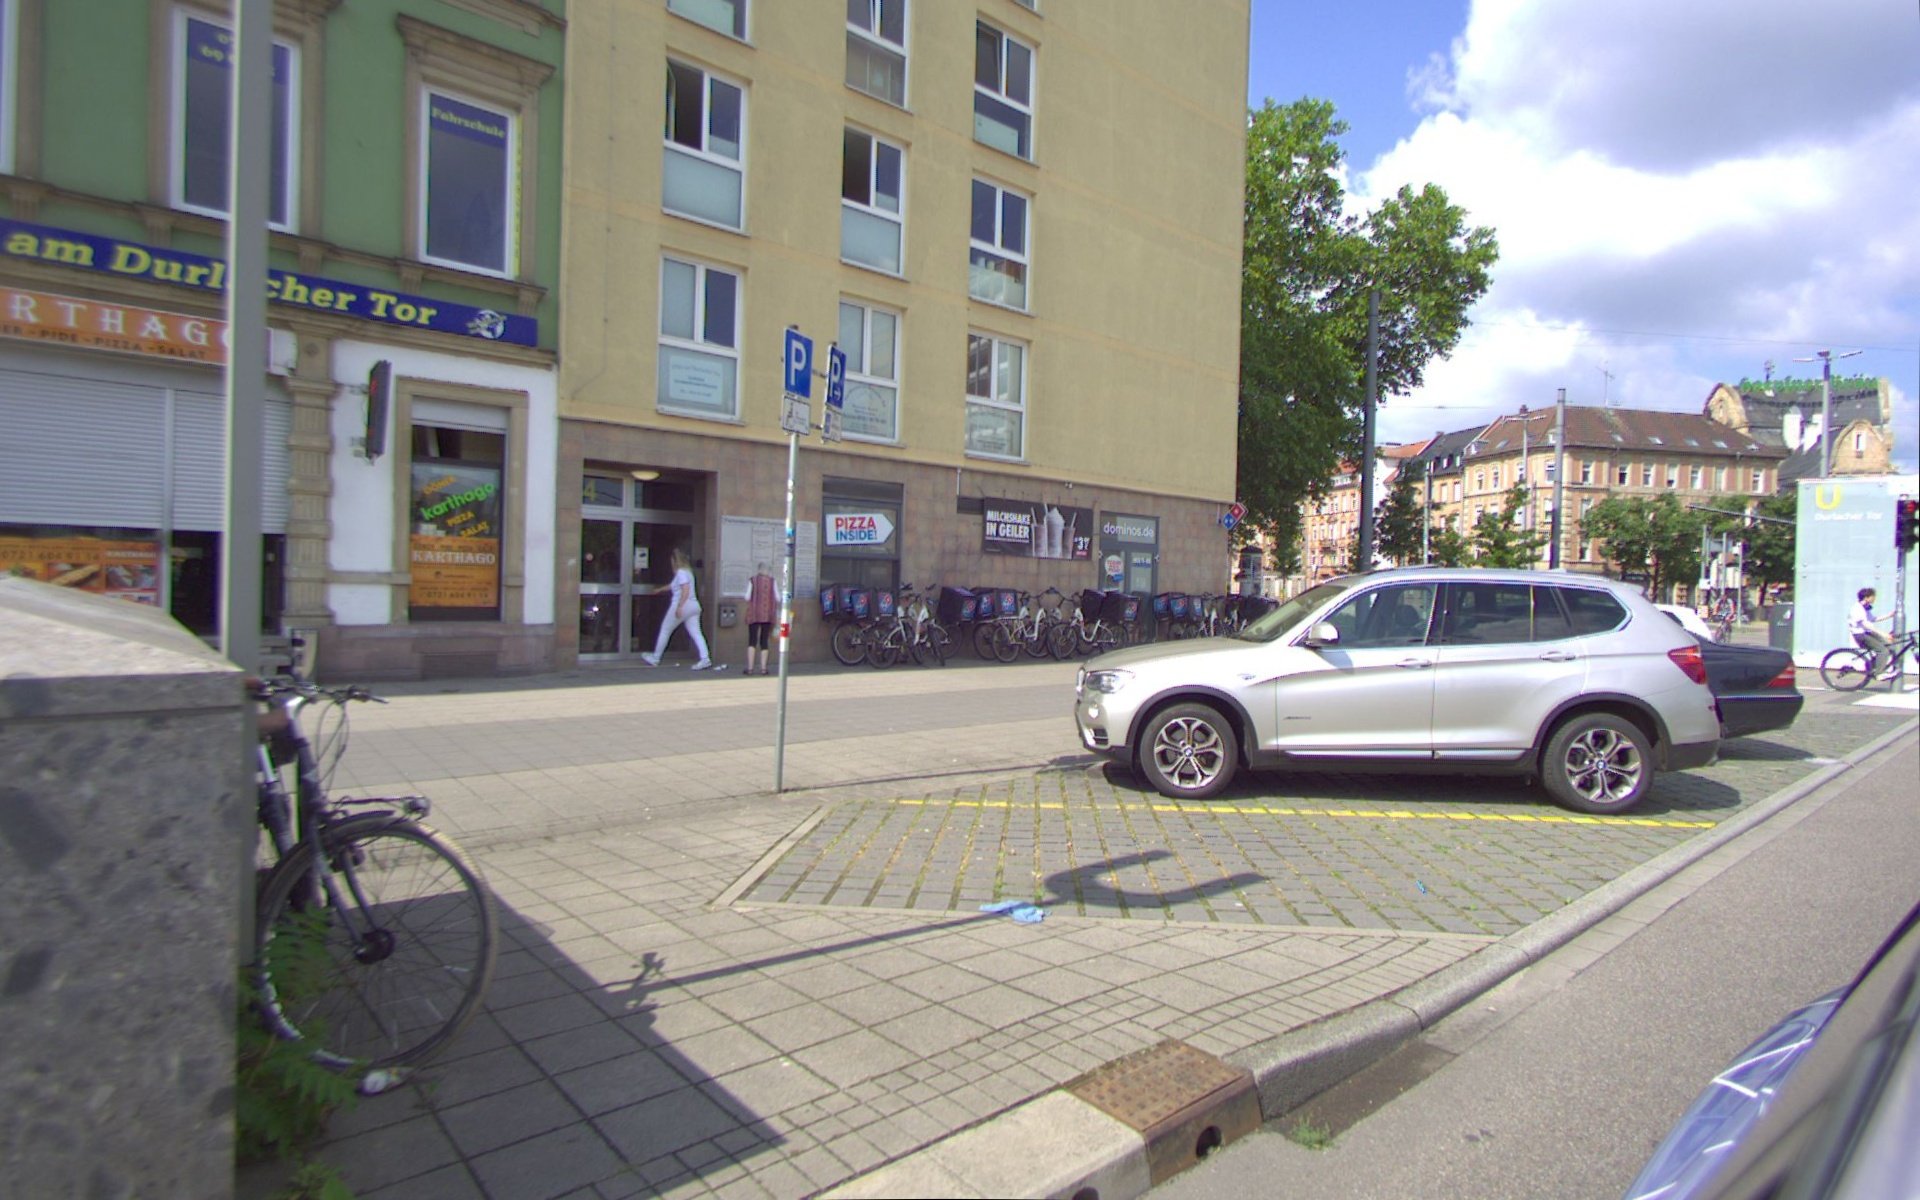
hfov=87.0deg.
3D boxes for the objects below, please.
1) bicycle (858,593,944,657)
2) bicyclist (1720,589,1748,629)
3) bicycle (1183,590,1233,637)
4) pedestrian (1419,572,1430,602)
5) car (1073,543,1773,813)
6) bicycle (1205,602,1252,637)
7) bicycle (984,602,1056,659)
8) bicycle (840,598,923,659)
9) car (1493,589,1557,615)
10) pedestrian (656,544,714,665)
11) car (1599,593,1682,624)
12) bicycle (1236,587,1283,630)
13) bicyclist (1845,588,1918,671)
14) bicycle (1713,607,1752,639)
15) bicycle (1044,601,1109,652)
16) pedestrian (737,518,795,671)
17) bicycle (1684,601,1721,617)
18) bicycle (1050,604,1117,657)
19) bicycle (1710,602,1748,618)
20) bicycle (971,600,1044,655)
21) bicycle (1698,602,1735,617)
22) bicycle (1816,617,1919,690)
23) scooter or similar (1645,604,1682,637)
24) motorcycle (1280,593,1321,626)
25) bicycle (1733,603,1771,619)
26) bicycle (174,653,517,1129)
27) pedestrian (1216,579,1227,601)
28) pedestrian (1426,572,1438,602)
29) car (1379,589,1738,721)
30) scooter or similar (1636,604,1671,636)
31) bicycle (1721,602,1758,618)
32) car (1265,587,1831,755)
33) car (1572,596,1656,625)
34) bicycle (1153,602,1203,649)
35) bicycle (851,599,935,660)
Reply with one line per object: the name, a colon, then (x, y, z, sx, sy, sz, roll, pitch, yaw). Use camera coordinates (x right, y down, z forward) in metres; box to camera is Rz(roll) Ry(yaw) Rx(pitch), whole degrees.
bicycle: (-0.893, 0.379, 15.558, 1.439, 0.934, 0.293, 2, 0, -43)
bicyclist: (28.463, 0.325, 37.216, 0.730, 1.455, 0.655, 1, 1, -40)
bicycle: (5.070, 0.279, 20.635, 0.292, 0.934, 1.588, 2, 0, 40)
pedestrian: (48.809, -1.344, 106.288, 0.655, 3.160, 0.887, 3, -1, 0)
car: (3.189, 0.475, 7.966, 4.518, 1.668, 2.058, 2, 1, 8)
bicycle: (5.940, 0.428, 22.357, 1.428, 0.747, 0.292, 1, 1, -44)
bicycle: (1.034, 0.528, 17.293, 1.439, 0.934, 0.293, 3, 0, -43)
bicycle: (-1.250, 0.458, 16.278, 1.439, 0.934, 0.293, 2, 0, -43)
car: (35.052, 0.120, 62.864, 1.657, 1.488, 3.659, 3, 0, -3)
pedestrian: (-3.851, 0.060, 14.159, 0.452, 1.638, 0.603, 3, 2, -40)
car: (38.789, 0.480, 57.790, 1.961, 1.594, 3.739, 3, 0, -3)
bicycle: (6.491, 0.167, 21.913, 1.440, 0.894, 0.293, -1, 2, -43)
bicyclist: (15.432, 0.483, 16.959, 0.387, 1.353, 0.785, 3, -1, -11)
bicycle: (28.352, 0.833, 37.135, 2.291, 1.134, 0.663, 0, 1, -41)
bicycle: (2.215, 0.491, 19.110, 1.438, 0.934, 0.293, 1, 1, -40)
pedestrian: (-2.656, -0.074, 13.854, 0.452, 2.039, 0.603, 3, -1, -40)
bicycle: (60.842, 0.756, 82.955, 0.746, 1.180, 2.689, 1, 1, -7)
bicycle: (2.258, 0.548, 18.469, 1.438, 0.934, 0.293, 1, 1, -40)
bicycle: (63.075, 0.817, 83.035, 0.746, 1.180, 2.689, 1, 1, -6)
bicycle: (0.848, 0.493, 17.883, 1.438, 0.934, 0.293, 3, -1, -40)
bicycle: (61.999, 0.746, 83.003, 0.746, 1.180, 2.688, 3, 0, -7)
bicycle: (15.504, 0.881, 16.752, 0.533, 1.120, 2.104, 3, 0, -13)
scooter or similar: (27.354, 0.782, 39.358, 1.049, 1.212, 0.380, 3, -1, 13)
motorcycle: (11.202, 0.293, 33.380, 0.959, 1.043, 2.287, 0, 0, 10)
bicycle: (65.279, 0.883, 83.437, 0.746, 1.180, 2.688, 1, 1, -6)
bicycle: (-2.014, 0.728, 3.215, 0.602, 1.110, 1.634, 4, -5, -42)
pedestrian: (24.564, -0.909, 95.150, 0.698, 2.039, 0.862, 2, 1, 32)
pedestrian: (49.620, -1.331, 106.288, 0.713, 3.115, 0.887, 3, -1, 0)
car: (7.319, 0.614, 12.728, 3.439, 1.471, 1.774, 1, 1, 10)
scooter or similar: (27.392, 0.794, 39.964, 1.045, 1.212, 0.381, 3, -1, 3)
bicycle: (64.119, 0.808, 83.291, 0.746, 1.180, 2.689, 1, 1, -7)
car: (5.584, 0.673, 10.284, 4.526, 1.479, 1.933, -1, -2, 11)
car: (36.108, 0.559, 56.001, 1.833, 1.393, 3.945, 2, 1, -5)
bicycle: (4.553, 0.525, 21.083, 0.292, 0.934, 1.429, 2, 1, 44)
bicycle: (-1.041, 0.470, 16.038, 1.439, 0.934, 0.293, 3, 0, -43)
